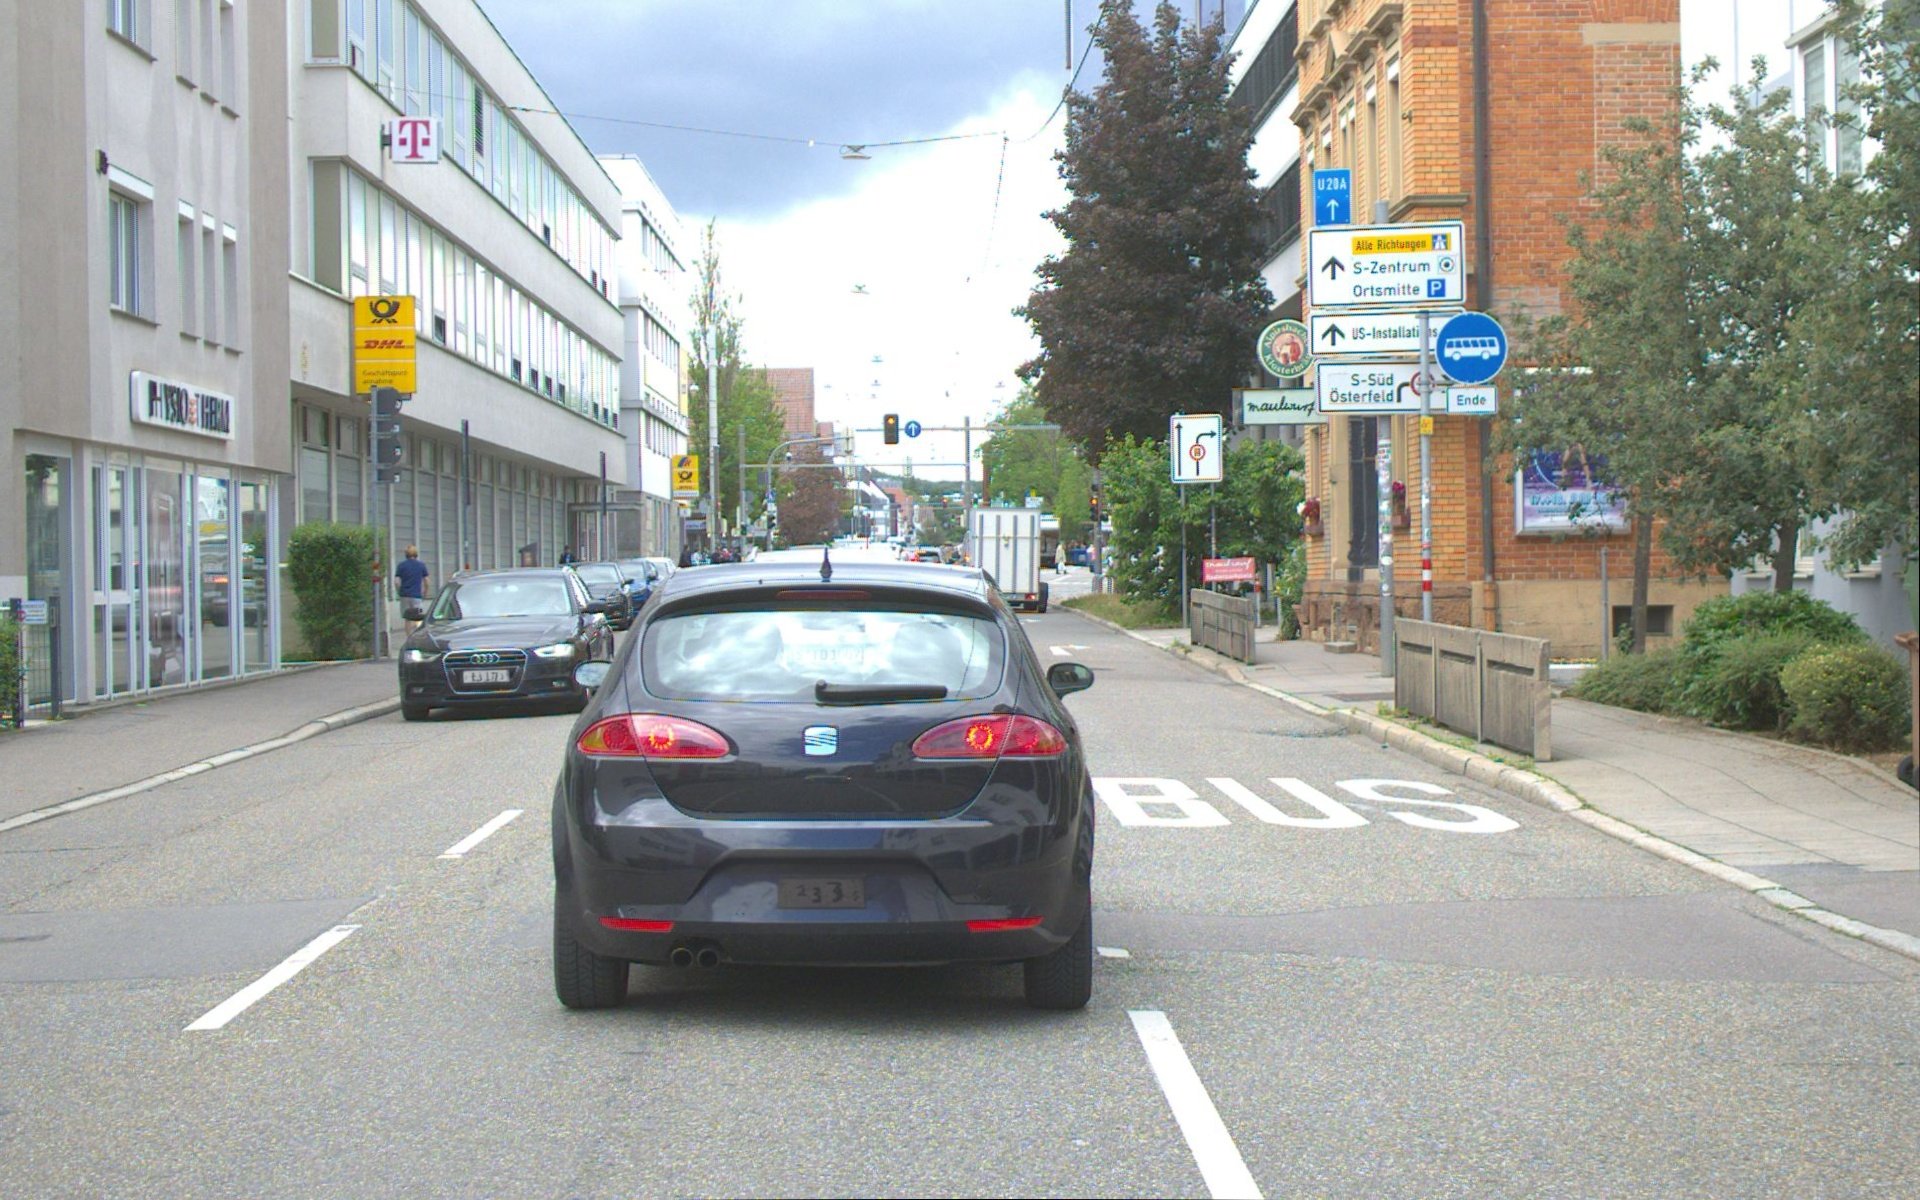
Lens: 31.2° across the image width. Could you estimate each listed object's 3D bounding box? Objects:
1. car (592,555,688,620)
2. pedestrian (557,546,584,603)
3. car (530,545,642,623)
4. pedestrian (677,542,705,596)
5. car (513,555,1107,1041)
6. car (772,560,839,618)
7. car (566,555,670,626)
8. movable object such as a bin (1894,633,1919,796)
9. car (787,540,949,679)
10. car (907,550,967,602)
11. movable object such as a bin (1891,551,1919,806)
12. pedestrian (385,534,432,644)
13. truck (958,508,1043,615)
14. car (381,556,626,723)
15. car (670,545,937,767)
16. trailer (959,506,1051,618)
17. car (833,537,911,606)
[{"bbox_3d":[-7.705,-0.326,83.035,1.993,1.511,4.175,-1,1,-1],"label":"car"},{"bbox_3d":[-11.061,-0.722,97.659,0.656,1.617,0.681,-1,1,0],"label":"pedestrian"},{"bbox_3d":[-7.734,-0.346,71.368,1.912,1.511,4.175,-2,1,-1],"label":"car"},{"bbox_3d":[-9.439,-1.091,120.731,0.918,1.862,0.783,0,1,-1],"label":"pedestrian"},{"bbox_3d":[-0.470,0.569,12.208,1.765,1.428,3.828,0,1,-1],"label":"car"},{"bbox_3d":[-4.962,-0.371,111.158,1.993,1.733,4.554,-2,1,-1],"label":"car"},{"bbox_3d":[-7.661,-0.232,77.329,1.993,1.511,4.175,-1,1,-1],"label":"car"},{"bbox_3d":[5.682,0.656,19.869,0.430,0.918,0.465,-1,1,0],"label":"movable object such as a bin"},{"bbox_3d":[-1.080,0.080,40.498,1.803,1.547,3.738,-1,1,-1],"label":"car"},{"bbox_3d":[-0.732,-0.778,108.220,1.803,1.596,3.738,0,1,-1],"label":"car"},{"bbox_3d":[5.955,0.434,19.053,1.267,1.412,1.162,-1,1,0],"label":"movable object such as a bin"},{"bbox_3d":[-8.976,-0.186,55.972,0.642,1.763,0.810,-1,1,-3],"label":"pedestrian"},{"bbox_3d":[0.993,-0.973,86.055,1.993,2.598,3.260,-1,1,-1],"label":"truck"},{"bbox_3d":[-4.473,0.343,34.259,1.878,1.446,4.214,-3,1,-1],"label":"car"},{"bbox_3d":[-1.108,0.354,25.254,1.803,1.487,3.738,-1,1,-1],"label":"car"},{"bbox_3d":[1.060,-0.925,83.239,1.993,2.598,5.349,-1,1,-1],"label":"trailer"},{"bbox_3d":[-2.089,-0.694,81.713,1.803,1.596,3.738,0,1,-1],"label":"car"}]
